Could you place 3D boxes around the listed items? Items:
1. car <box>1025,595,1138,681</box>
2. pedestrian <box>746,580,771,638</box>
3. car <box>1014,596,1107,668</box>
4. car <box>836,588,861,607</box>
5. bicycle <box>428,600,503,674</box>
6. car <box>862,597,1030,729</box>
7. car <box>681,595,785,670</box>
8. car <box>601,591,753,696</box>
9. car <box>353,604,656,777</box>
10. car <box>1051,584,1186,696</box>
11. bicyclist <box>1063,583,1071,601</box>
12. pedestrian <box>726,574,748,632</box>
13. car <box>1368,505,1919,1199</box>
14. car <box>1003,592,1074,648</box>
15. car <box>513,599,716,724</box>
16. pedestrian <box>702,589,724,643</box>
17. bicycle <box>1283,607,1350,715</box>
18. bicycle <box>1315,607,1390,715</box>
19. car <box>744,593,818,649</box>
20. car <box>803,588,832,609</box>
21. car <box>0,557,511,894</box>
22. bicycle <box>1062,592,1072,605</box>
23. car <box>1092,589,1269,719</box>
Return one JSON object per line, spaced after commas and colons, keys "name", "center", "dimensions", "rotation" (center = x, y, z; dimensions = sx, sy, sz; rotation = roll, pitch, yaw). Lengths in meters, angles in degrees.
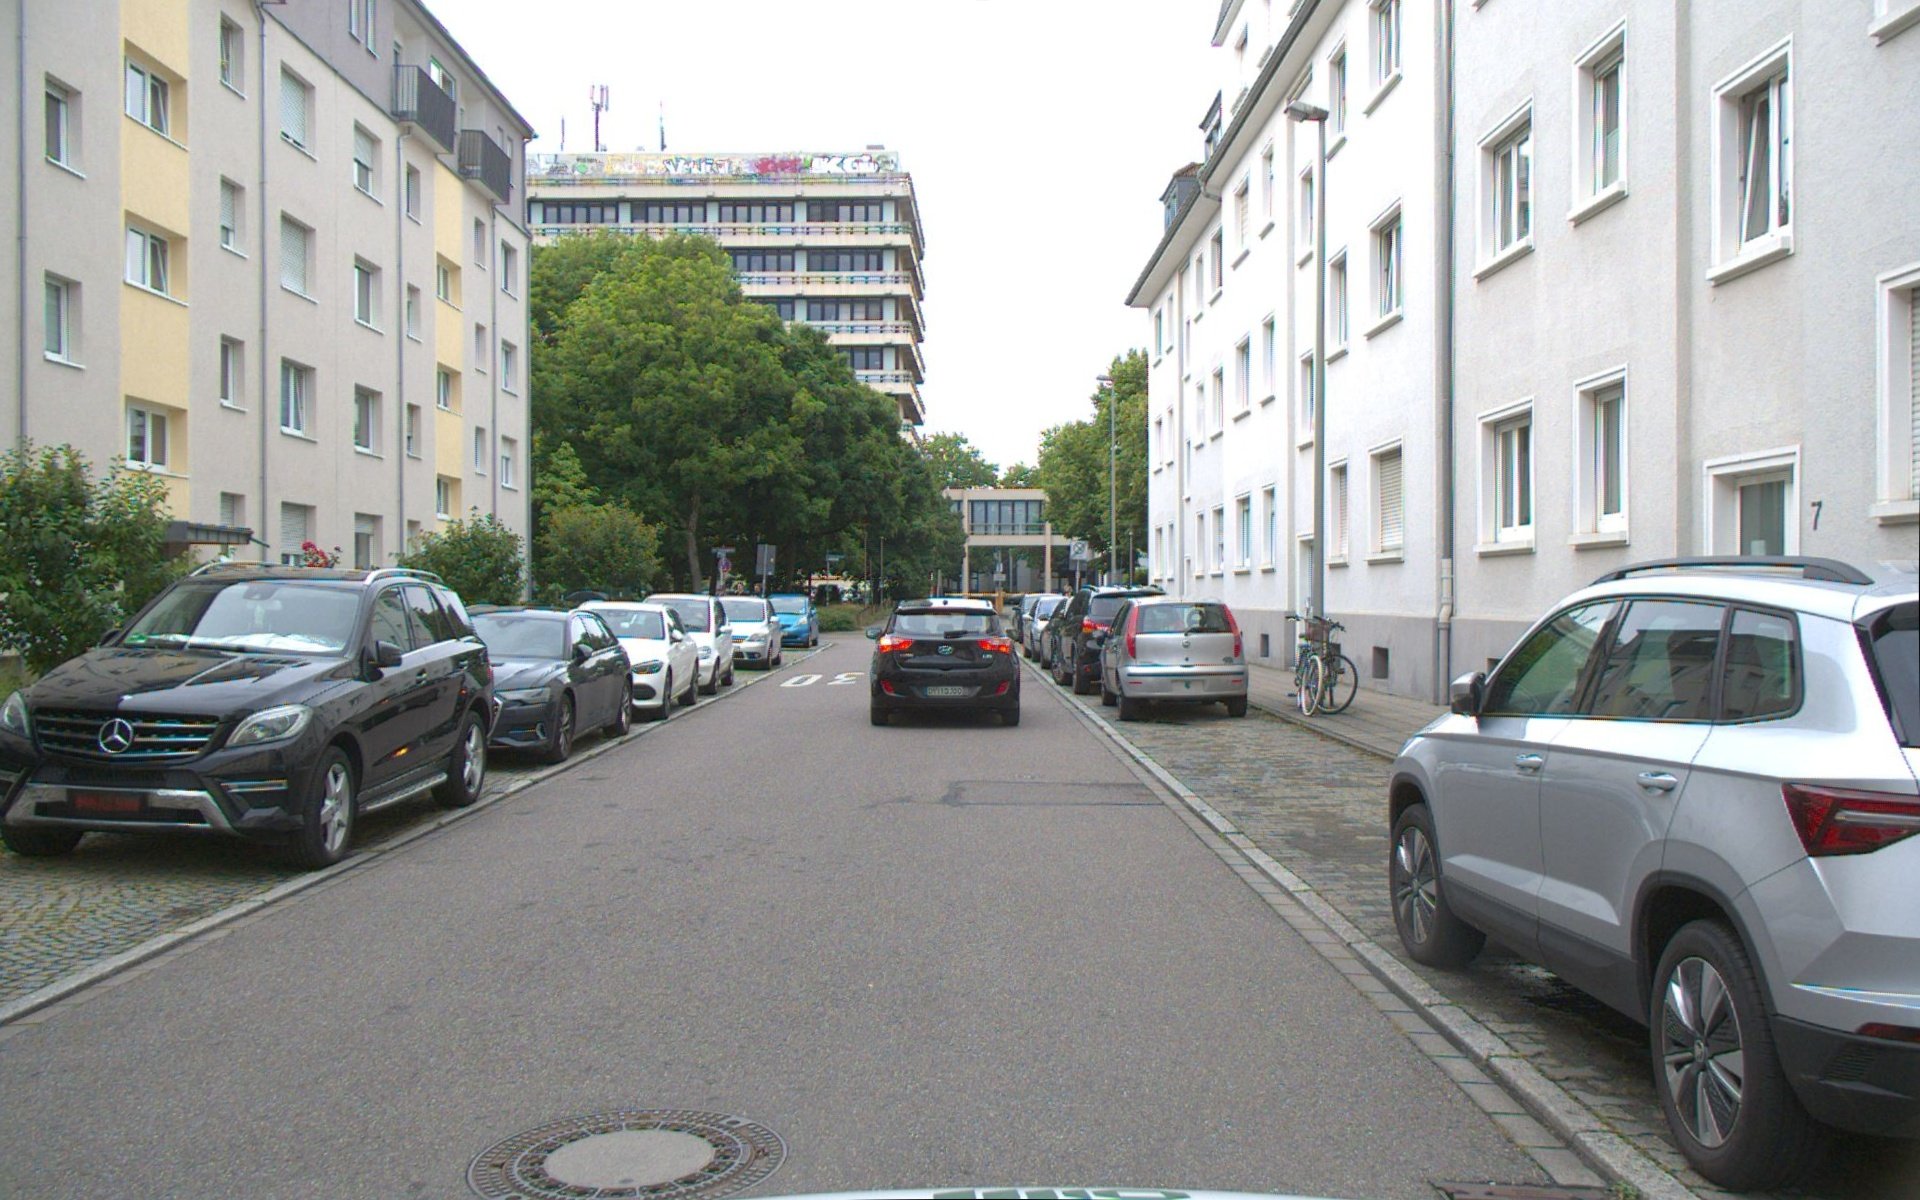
{"name": "car", "center": [2.300, 0.681, 32.447], "dimensions": [1.783, 1.546, 4.672], "rotation": [0, 0, -1]}
{"name": "pedestrian", "center": [-6.549, 0.292, 53.783], "dimensions": [0.699, 1.863, 0.797], "rotation": [0, 0, 1]}
{"name": "car", "center": [2.246, 0.681, 38.097], "dimensions": [1.783, 1.546, 4.672], "rotation": [0, 0, -1]}
{"name": "car", "center": [-8.164, -0.208, 121.098], "dimensions": [1.632, 1.356, 3.395], "rotation": [0, 0, -1]}
{"name": "bicycle", "center": [-8.676, 0.631, 29.098], "dimensions": [0.716, 1.232, 2.090], "rotation": [0, 0, -1]}
{"name": "car", "center": [-0.150, 0.698, 20.596], "dimensions": [1.864, 1.458, 4.233], "rotation": [-1, 0, 0]}
{"name": "car", "center": [-5.024, 0.690, 37.057], "dimensions": [1.954, 1.568, 3.998], "rotation": [1, 0, -3]}
{"name": "car", "center": [-4.839, 0.697, 28.857], "dimensions": [1.856, 1.627, 4.520], "rotation": [2, 0, -1]}
{"name": "car", "center": [-4.547, 0.828, 17.290], "dimensions": [1.856, 1.477, 4.666], "rotation": [2, 0, -1]}
{"name": "car", "center": [2.453, 0.581, 26.435], "dimensions": [1.783, 1.631, 4.091], "rotation": [0, 0, 0]}
{"name": "bicyclist", "center": [8.777, -0.627, 135.719], "dimensions": [0.679, 1.469, 0.795], "rotation": [0, 0, 0]}
{"name": "pedestrian", "center": [-7.277, 0.091, 54.006], "dimensions": [0.592, 1.863, 0.675], "rotation": [0, 0, 1]}
{"name": "car", "center": [2.743, 0.626, 5.493], "dimensions": [1.783, 1.671, 4.091], "rotation": [0, 0, 0]}
{"name": "car", "center": [2.295, 0.566, 49.372], "dimensions": [1.783, 1.546, 4.672], "rotation": [-1, 0, -1]}
{"name": "car", "center": [-4.638, 0.767, 22.869], "dimensions": [1.856, 1.477, 4.520], "rotation": [2, 0, -1]}
{"name": "pedestrian", "center": [-8.003, 0.506, 53.610], "dimensions": [0.588, 1.743, 0.648], "rotation": [0, 0, 1]}
{"name": "bicycle", "center": [4.269, 0.700, 19.904], "dimensions": [0.519, 1.196, 2.038], "rotation": [-1, 0, 5]}
{"name": "bicycle", "center": [4.694, 0.704, 19.873], "dimensions": [0.564, 1.196, 2.038], "rotation": [-1, 0, 5]}
{"name": "car", "center": [-5.314, 0.593, 49.479], "dimensions": [1.954, 1.568, 3.998], "rotation": [1, 0, -3]}
{"name": "car", "center": [-9.257, -0.101, 107.649], "dimensions": [1.632, 1.356, 3.395], "rotation": [0, 0, -1]}
{"name": "car", "center": [-4.600, 0.674, 11.220], "dimensions": [1.856, 1.770, 4.474], "rotation": [2, 0, -1]}
{"name": "bicycle", "center": [8.774, -0.137, 135.665], "dimensions": [0.678, 1.014, 1.735], "rotation": [0, 0, 1]}
{"name": "car", "center": [2.781, 0.631, 21.696], "dimensions": [1.783, 1.529, 4.091], "rotation": [0, 0, 0]}
